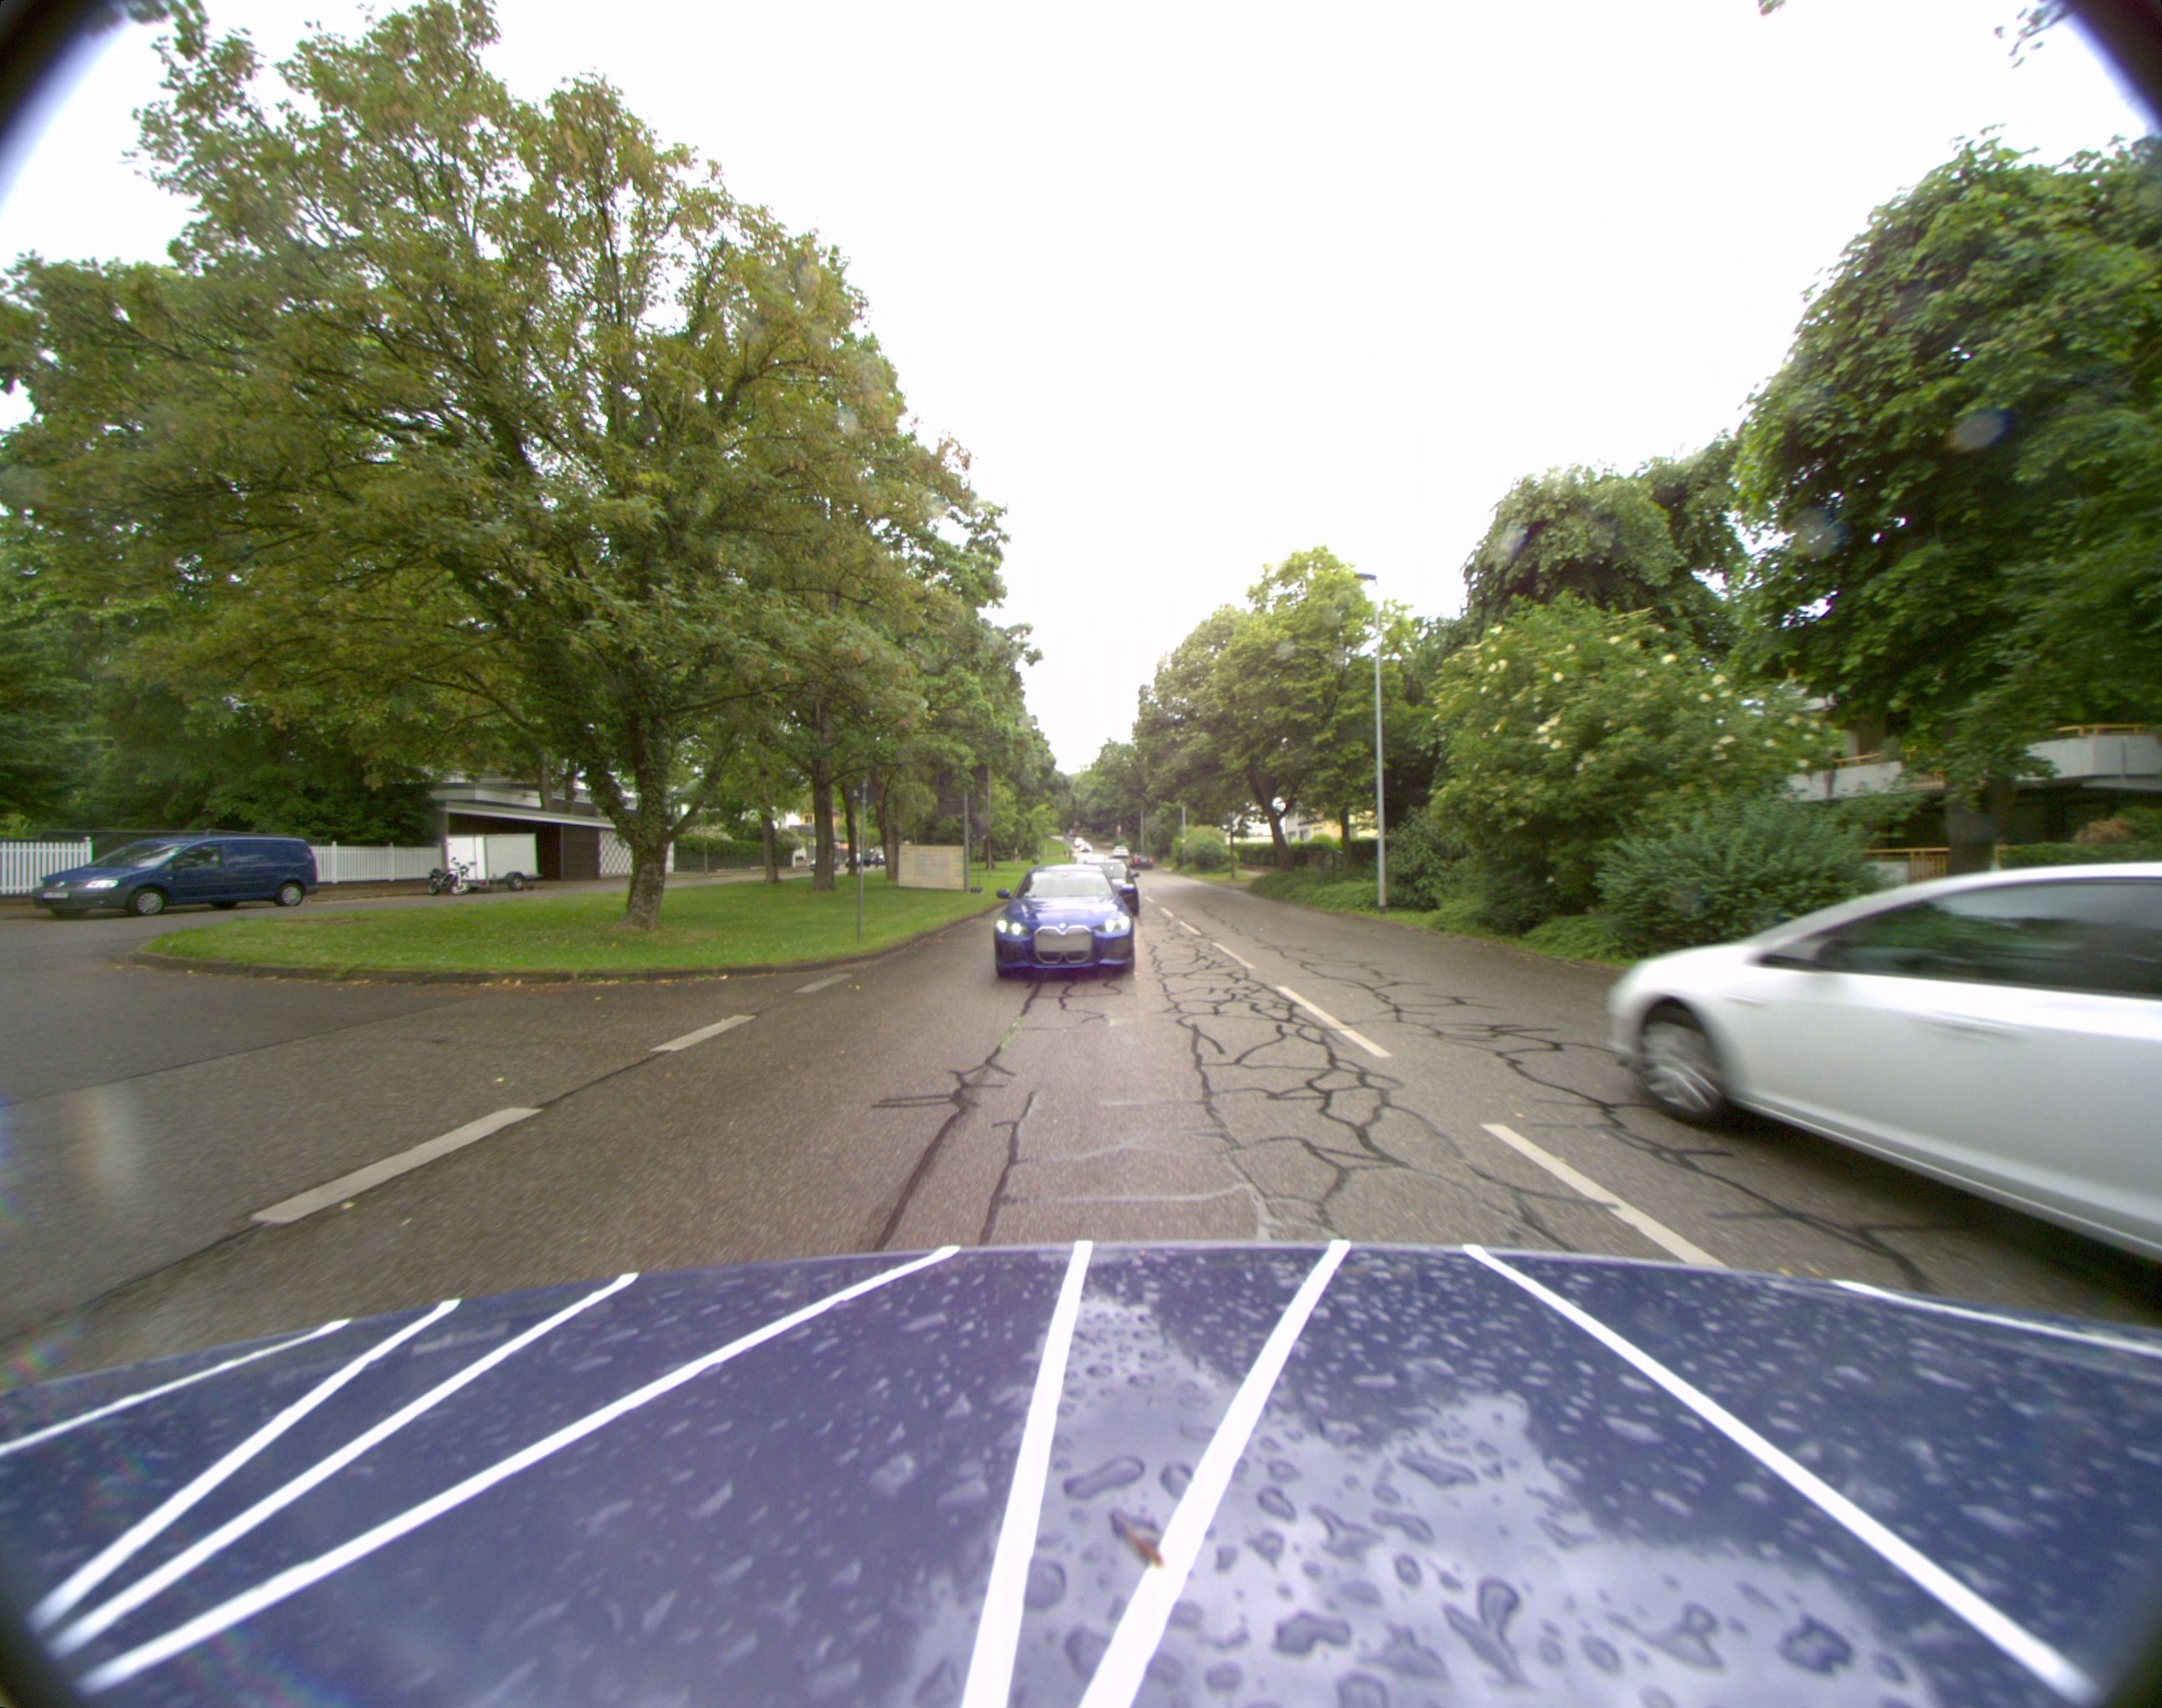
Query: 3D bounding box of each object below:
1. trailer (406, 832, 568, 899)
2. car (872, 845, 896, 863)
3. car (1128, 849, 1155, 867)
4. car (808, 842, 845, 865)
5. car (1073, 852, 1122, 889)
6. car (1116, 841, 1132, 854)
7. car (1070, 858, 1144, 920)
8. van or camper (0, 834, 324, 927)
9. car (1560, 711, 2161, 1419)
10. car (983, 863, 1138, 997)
[{"bbox_3d":[-21.137,0.343,27.380,1.771,2.104,5.191,-2,1,-2],"label":"trailer"},{"bbox_3d":[-24.127,0.019,93.298,1.999,2.001,4.001,0,-2,-1],"label":"car"},{"bbox_3d":[4.986,0.310,63.084,1.769,1.341,4.376,1,1,-1],"label":"car"},{"bbox_3d":[-23.204,-0.058,69.296,1.998,2.002,4.000,0,0,0],"label":"car"},{"bbox_3d":[0.715,0.682,34.483,2.032,1.471,4.067,-2,1,0],"label":"car"},{"bbox_3d":[5.195,-0.804,92.420,1.826,1.471,4.066,0,1,0],"label":"car"},{"bbox_3d":[0.685,0.906,21.438,1.826,1.471,4.067,-2,1,0],"label":"car"},{"bbox_3d":[-21.009,0.519,17.733,1.999,1.798,4.773,-2,1,-4],"label":"van or camper"},{"bbox_3d":[4.051,0.600,2.455,1.999,2.002,4.572,0,0,-2],"label":"car"},{"bbox_3d":[-0.234,0.945,11.232,1.826,1.471,4.067,-2,1,0],"label":"car"}]
